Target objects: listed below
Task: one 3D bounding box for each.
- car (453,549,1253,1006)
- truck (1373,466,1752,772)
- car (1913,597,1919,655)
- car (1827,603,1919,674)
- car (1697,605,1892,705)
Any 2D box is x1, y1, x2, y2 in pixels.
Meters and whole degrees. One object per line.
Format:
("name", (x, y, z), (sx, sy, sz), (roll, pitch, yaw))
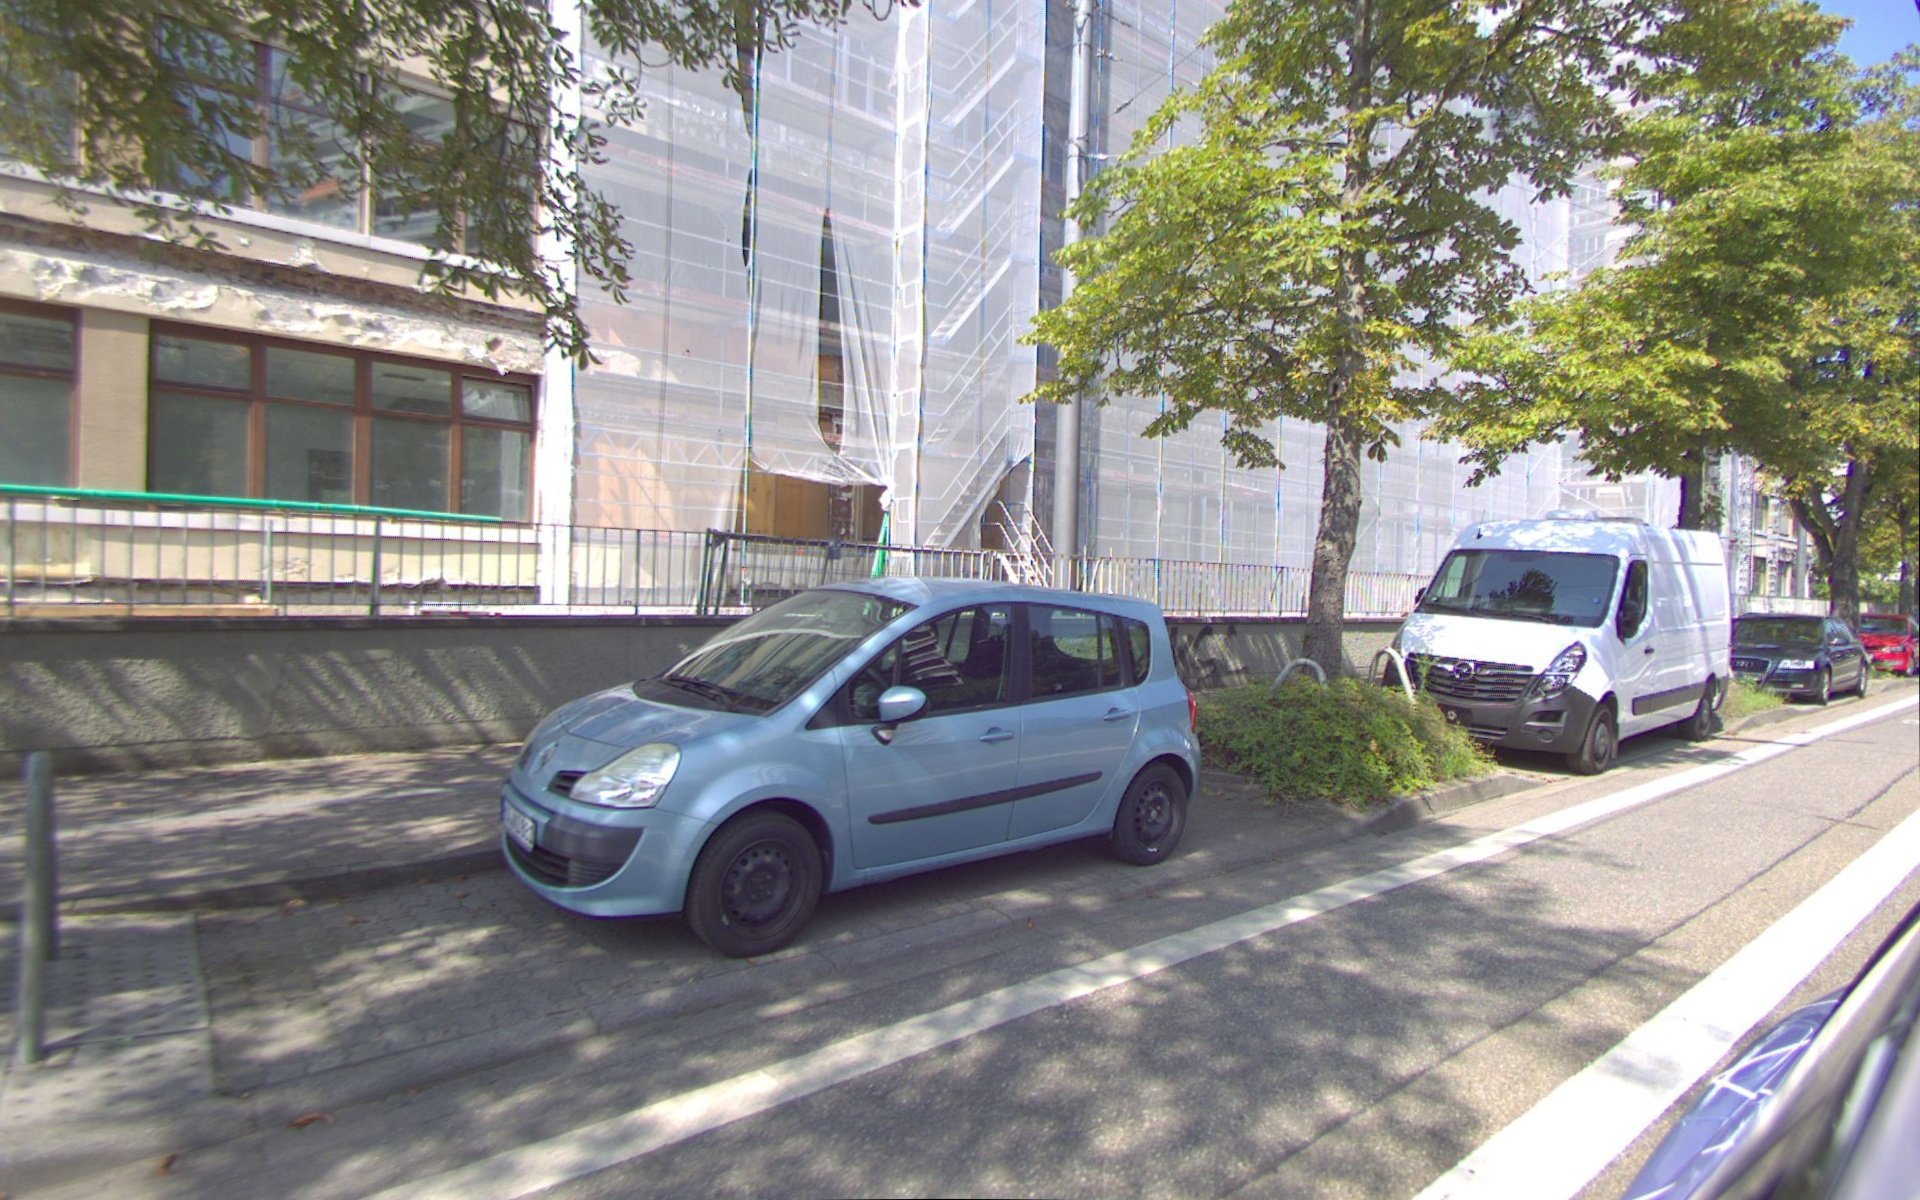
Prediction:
("car", (-0.345, 0.600, 5.555), (4.096, 1.599, 1.678), (0, 3, -39))
("truck", (6.873, 0.140, 11.224), (5.493, 2.631, 1.921), (0, 1, -41))
("car", (30.553, 0.813, 30.798), (4.566, 1.709, 1.765), (1, 1, -40))
("car", (22.386, 0.866, 24.331), (4.058, 1.519, 1.689), (0, 1, -40))
("car", (14.572, 0.853, 17.576), (4.716, 1.458, 1.689), (0, 1, -39))
